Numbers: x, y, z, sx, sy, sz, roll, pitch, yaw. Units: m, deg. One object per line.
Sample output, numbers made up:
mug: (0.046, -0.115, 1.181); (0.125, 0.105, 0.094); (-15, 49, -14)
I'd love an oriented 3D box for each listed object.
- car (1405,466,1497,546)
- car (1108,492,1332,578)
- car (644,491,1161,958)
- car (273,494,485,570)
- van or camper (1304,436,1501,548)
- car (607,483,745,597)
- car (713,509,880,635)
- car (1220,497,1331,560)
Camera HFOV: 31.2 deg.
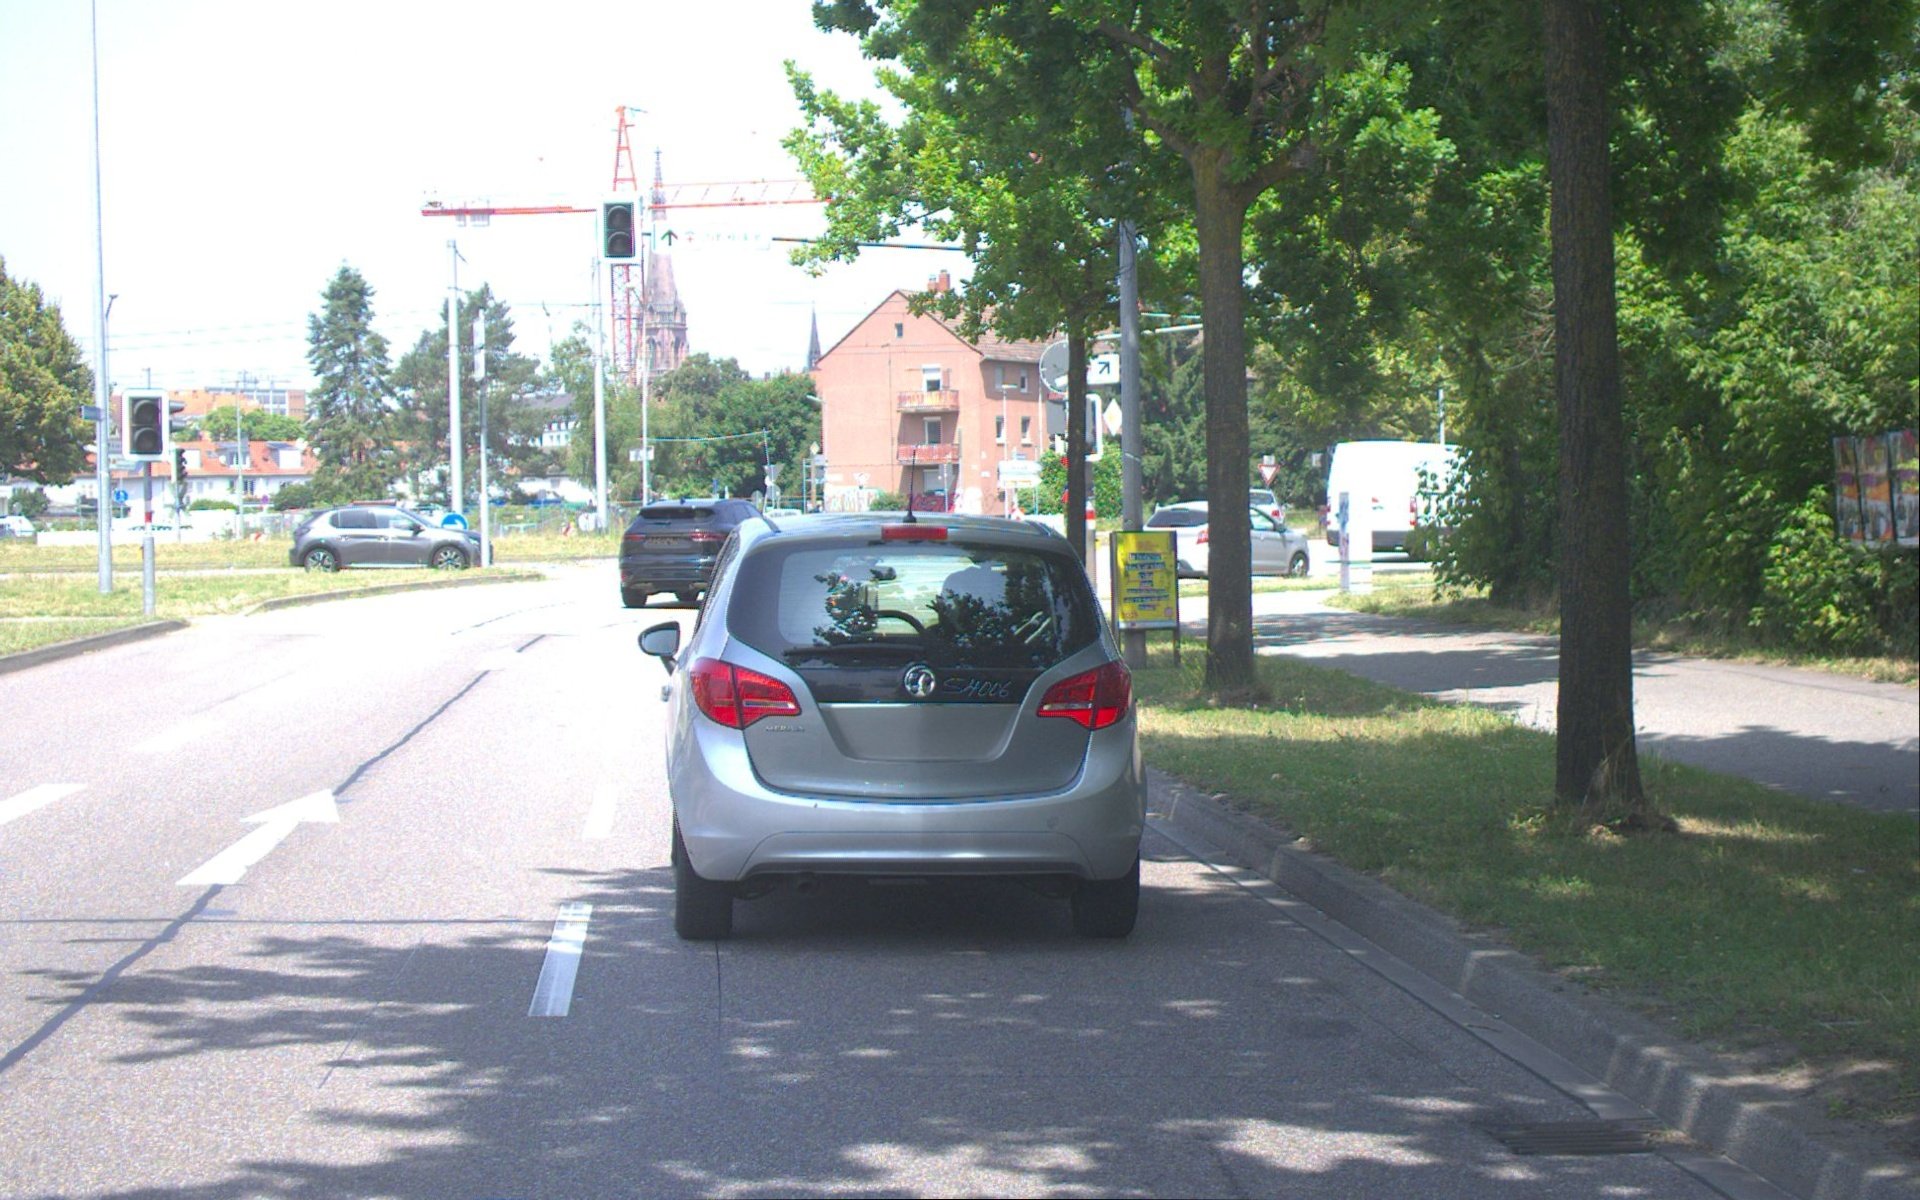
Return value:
car: (12.811, -2.453, 89.540); (1.995, 2.007, 3.998); (-1, 2, 14)
car: (4.610, -1.160, 60.534); (1.949, 1.437, 3.991); (0, 2, 40)
car: (-0.352, 0.378, 13.930); (1.792, 1.606, 3.892); (-1, 2, -5)
car: (-11.663, -1.379, 69.185); (3.986, 1.448, 2.000); (-1, 1, -3)
van or camper: (9.446, -2.291, 73.007); (2.497, 2.283, 4.913); (0, 2, 29)
car: (-4.335, -0.956, 53.049); (1.997, 1.683, 4.034); (0, 2, -3)
car: (-2.106, -0.404, 44.463); (2.014, 1.512, 4.461); (-1, 2, -2)
car: (8.459, -1.926, 91.884); (1.995, 1.644, 3.996); (0, 2, 20)
